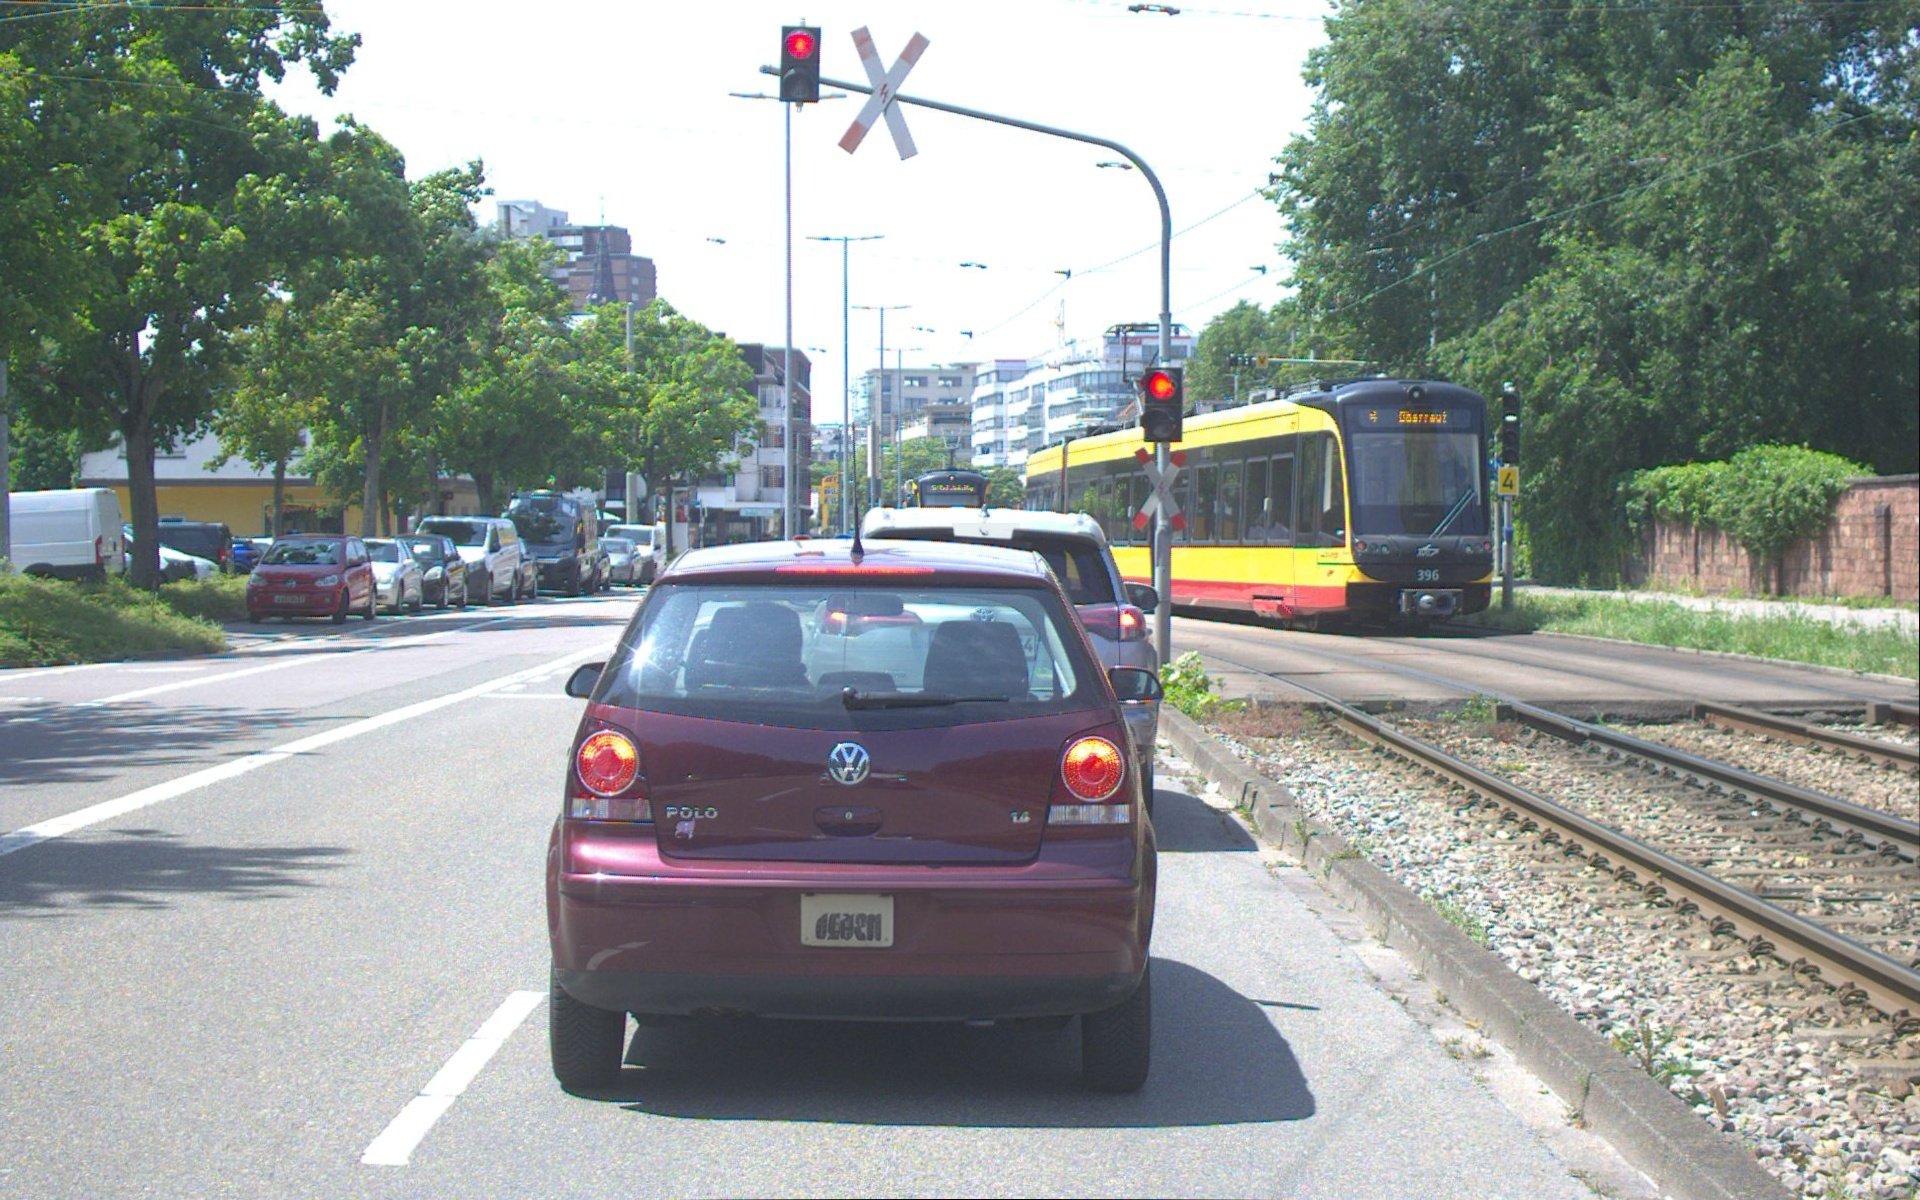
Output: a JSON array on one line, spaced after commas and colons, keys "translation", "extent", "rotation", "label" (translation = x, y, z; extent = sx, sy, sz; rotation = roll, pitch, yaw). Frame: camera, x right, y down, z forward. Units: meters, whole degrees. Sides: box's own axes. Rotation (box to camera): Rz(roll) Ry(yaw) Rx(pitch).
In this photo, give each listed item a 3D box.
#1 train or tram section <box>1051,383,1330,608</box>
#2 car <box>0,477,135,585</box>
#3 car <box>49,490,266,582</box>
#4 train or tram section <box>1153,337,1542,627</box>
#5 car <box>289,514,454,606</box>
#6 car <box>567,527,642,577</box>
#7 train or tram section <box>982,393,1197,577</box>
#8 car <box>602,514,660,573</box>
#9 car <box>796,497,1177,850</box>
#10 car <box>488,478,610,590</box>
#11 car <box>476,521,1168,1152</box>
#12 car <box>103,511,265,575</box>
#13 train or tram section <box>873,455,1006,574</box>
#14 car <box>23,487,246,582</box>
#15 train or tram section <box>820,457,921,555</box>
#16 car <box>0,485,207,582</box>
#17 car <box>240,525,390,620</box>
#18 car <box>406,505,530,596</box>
[{"translation": [4.070, -1.922, 64.539], "extent": [3.028, 3.785, 13.093], "rotation": [0, 1, -6], "label": "train or tram section"}, {"translation": [-20.823, -1.534, 74.745], "extent": [5.097, 2.237, 2.378], "rotation": [2, 0, 1], "label": "car"}, {"translation": [-21.212, -1.693, 91.046], "extent": [5.097, 2.237, 2.378], "rotation": [2, 0, 1], "label": "car"}, {"translation": [5.459, -1.709, 51.561], "extent": [3.028, 3.785, 13.093], "rotation": [0, 1, -6], "label": "train or tram section"}, {"translation": [-11.041, -0.741, 64.756], "extent": [1.976, 1.595, 4.557], "rotation": [2, 1, 4], "label": "car"}, {"translation": [-10.871, -1.450, 105.310], "extent": [1.614, 1.436, 4.000], "rotation": [2, 1, 3], "label": "car"}, {"translation": [2.724, -2.542, 77.289], "extent": [3.028, 3.785, 12.763], "rotation": [0, 1, -6], "label": "train or tram section"}, {"translation": [-10.654, -1.810, 111.313], "extent": [1.774, 1.822, 4.001], "rotation": [2, 1, -6], "label": "car"}, {"translation": [0.082, 0.304, 18.435], "extent": [1.777, 1.641, 4.001], "rotation": [2, 1, -1], "label": "car"}, {"translation": [-10.482, -1.662, 88.028], "extent": [2.361, 2.683, 5.307], "rotation": [2, 0, 0], "label": "car"}, {"translation": [-0.383, 0.543, 10.510], "extent": [1.672, 1.516, 4.000], "rotation": [2, 1, -1], "label": "car"}, {"translation": [-21.559, -1.573, 95.561], "extent": [4.020, 1.611, 1.816], "rotation": [2, 0, 1], "label": "car"}, {"translation": [-0.800, -2.824, 112.843], "extent": [2.740, 3.597, 12.873], "rotation": [2, 1, -7], "label": "train or tram section"}, {"translation": [-21.226, -1.670, 88.556], "extent": [5.097, 2.237, 2.378], "rotation": [2, 0, 1], "label": "car"}, {"translation": [-3.572, -3.688, 134.593], "extent": [2.740, 3.597, 10.953], "rotation": [2, 1, -7], "label": "train or tram section"}, {"translation": [-21.726, -1.665, 86.189], "extent": [5.097, 2.237, 2.378], "rotation": [2, 0, 1], "label": "car"}, {"translation": [-10.876, -0.469, 58.210], "extent": [1.663, 1.491, 4.000], "rotation": [2, 1, 1], "label": "car"}, {"translation": [-10.695, -1.062, 74.992], "extent": [1.783, 1.875, 4.785], "rotation": [2, 1, 2], "label": "car"}]
